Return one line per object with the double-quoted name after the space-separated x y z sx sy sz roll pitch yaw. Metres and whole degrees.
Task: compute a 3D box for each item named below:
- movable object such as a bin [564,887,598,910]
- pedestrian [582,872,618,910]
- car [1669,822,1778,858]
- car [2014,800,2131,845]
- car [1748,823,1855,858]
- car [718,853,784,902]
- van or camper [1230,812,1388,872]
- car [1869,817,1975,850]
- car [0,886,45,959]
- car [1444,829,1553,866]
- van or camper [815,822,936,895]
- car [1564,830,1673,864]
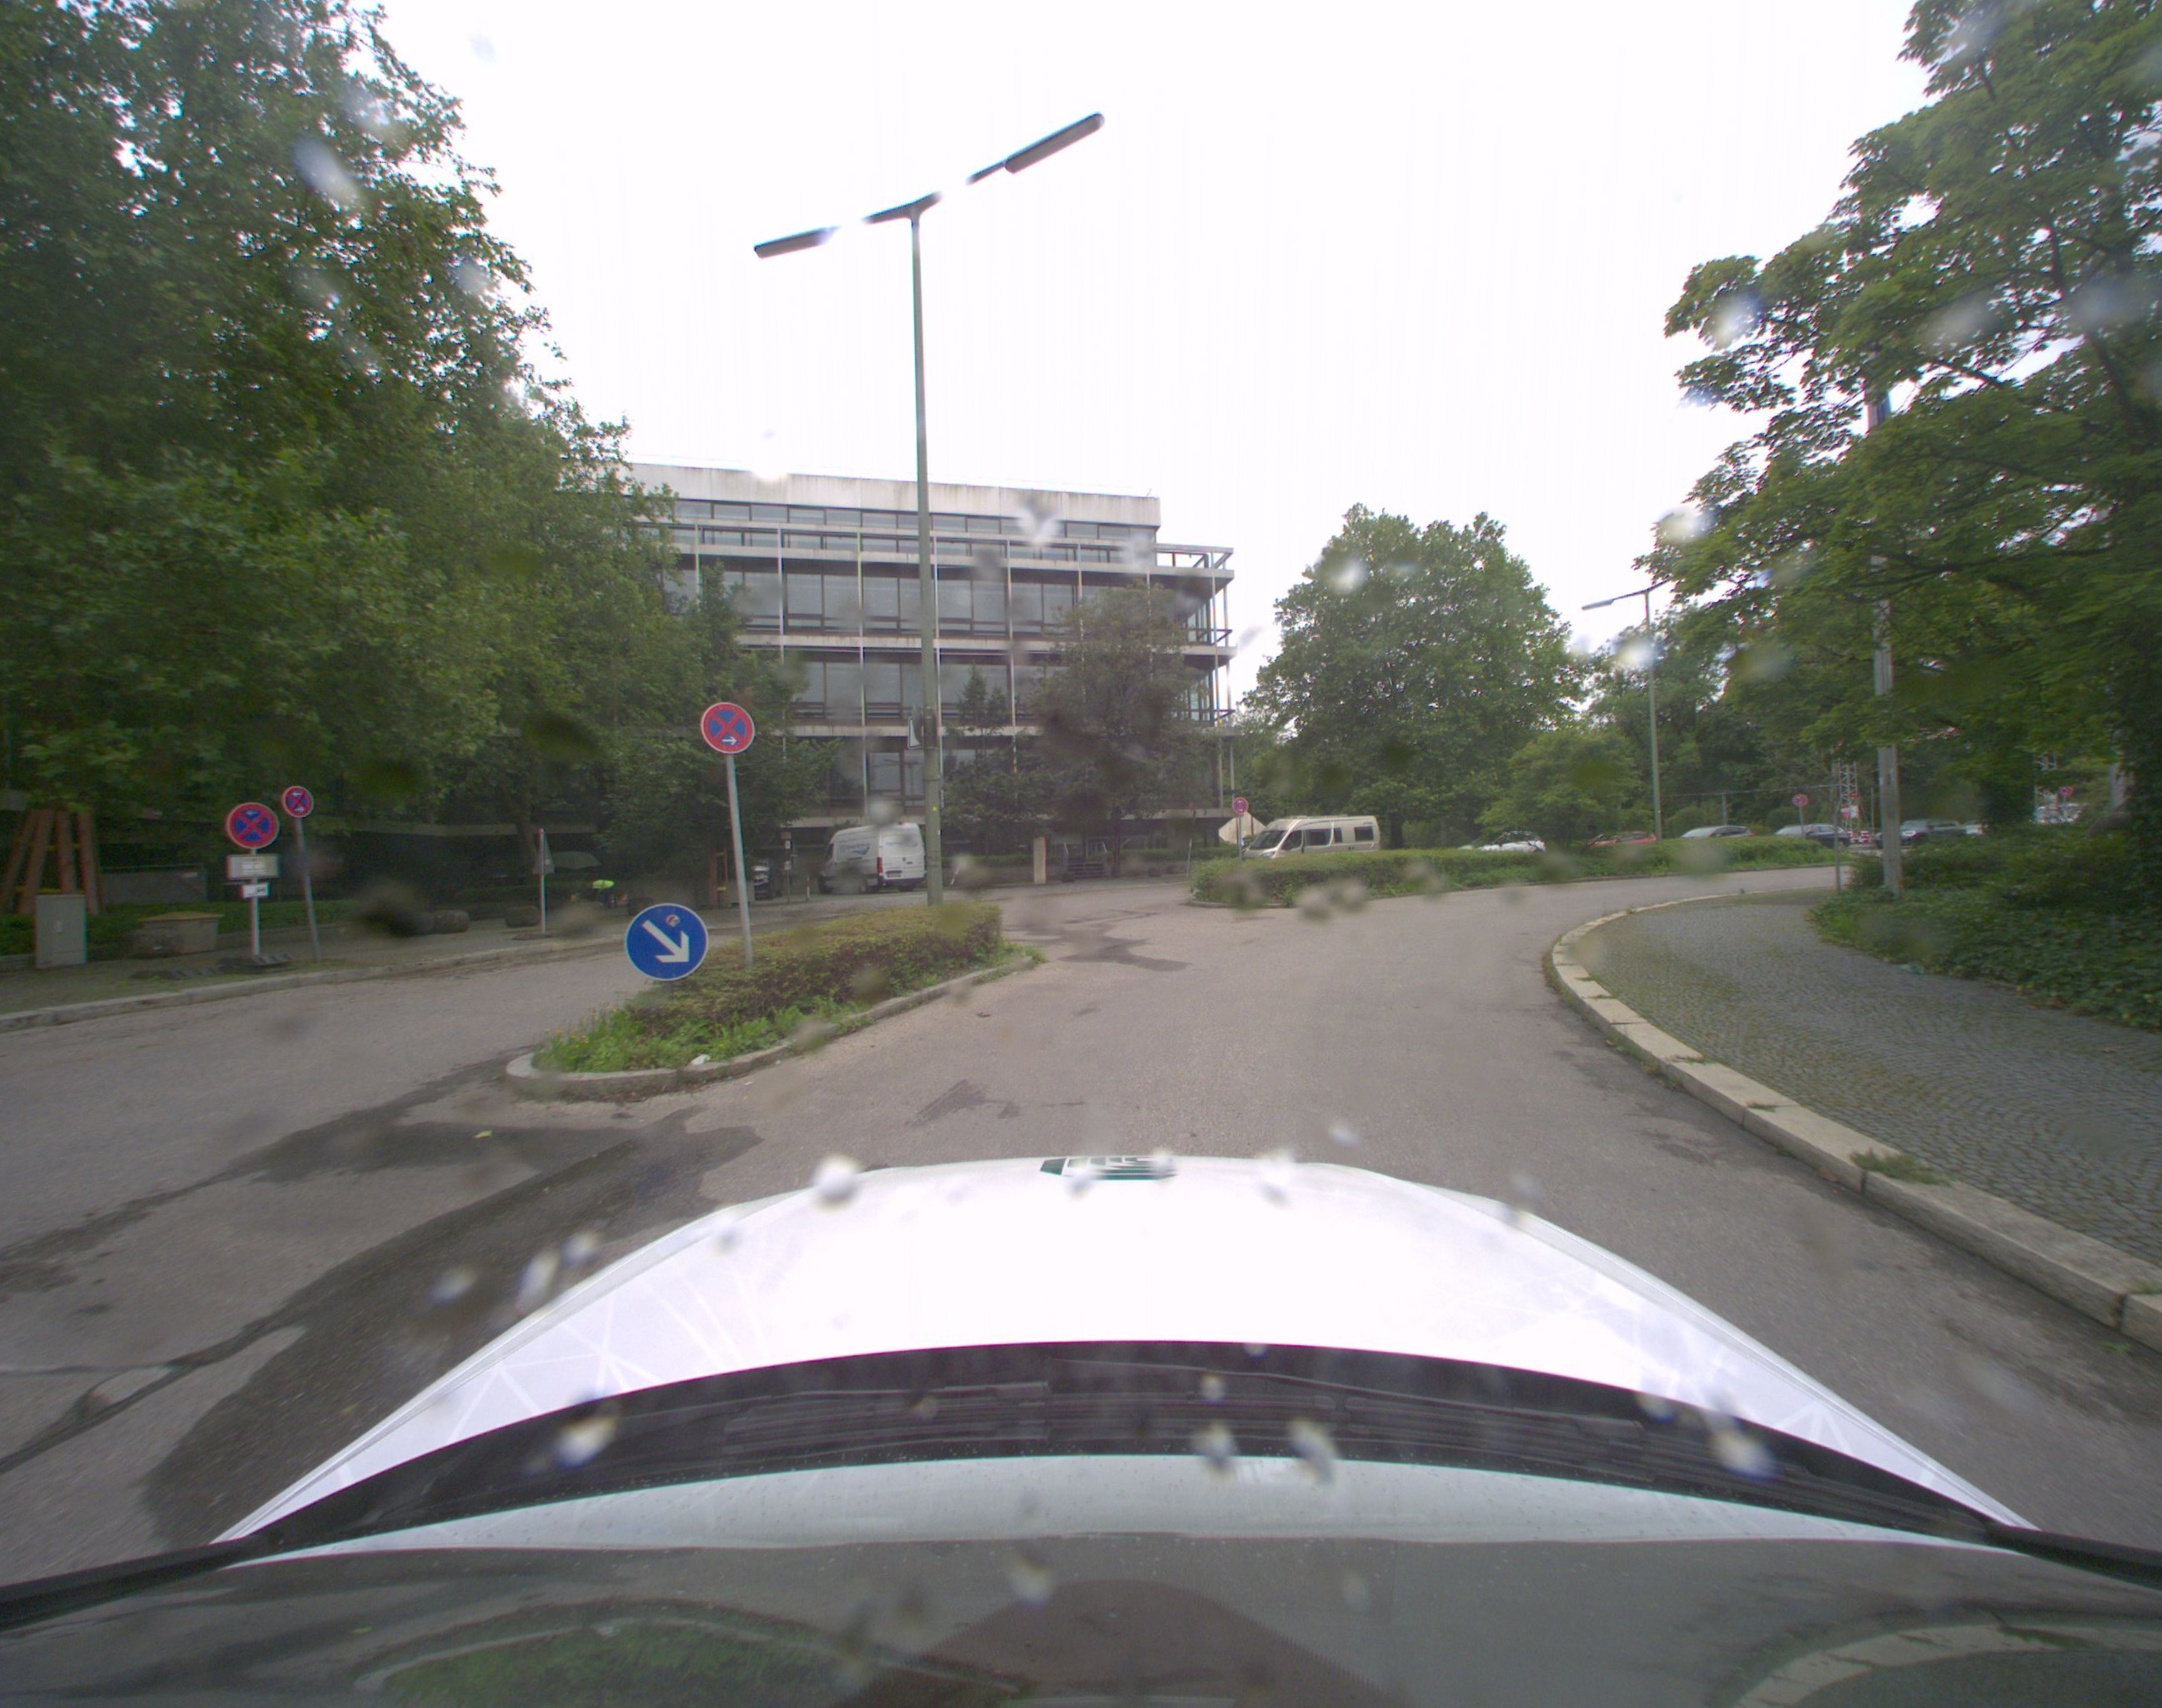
-17.270 1.532 28.153 0.834 0.753 0.570 -1 0 -10 "movable object such as a bin"
-16.732 1.269 28.320 0.926 1.278 0.540 -1 0 -11 "pedestrian"
30.989 -0.675 39.320 3.989 1.574 1.992 -2 0 -12 "car"
54.367 -1.698 44.669 4.862 2.227 2.195 -2 0 -15 "car"
35.861 -0.677 40.592 3.989 1.574 1.992 -2 0 -12 "car"
-12.957 0.889 32.238 1.946 1.721 4.215 -2 0 -16 "car"
9.462 -0.522 33.644 6.433 2.281 2.235 -2 0 -27 "van or camper"
43.640 -1.053 42.290 3.989 1.574 1.992 -2 0 -12 "car"
-22.915 1.436 15.472 1.908 1.473 3.845 -2 0 -11 "car"
18.881 -0.290 36.886 3.989 1.508 1.992 -2 0 -12 "car"
-8.355 0.278 32.497 2.173 2.581 6.463 -1 -2 -38 "van or camper"
25.122 -0.301 38.107 3.989 1.409 1.992 -2 0 -12 "car"
